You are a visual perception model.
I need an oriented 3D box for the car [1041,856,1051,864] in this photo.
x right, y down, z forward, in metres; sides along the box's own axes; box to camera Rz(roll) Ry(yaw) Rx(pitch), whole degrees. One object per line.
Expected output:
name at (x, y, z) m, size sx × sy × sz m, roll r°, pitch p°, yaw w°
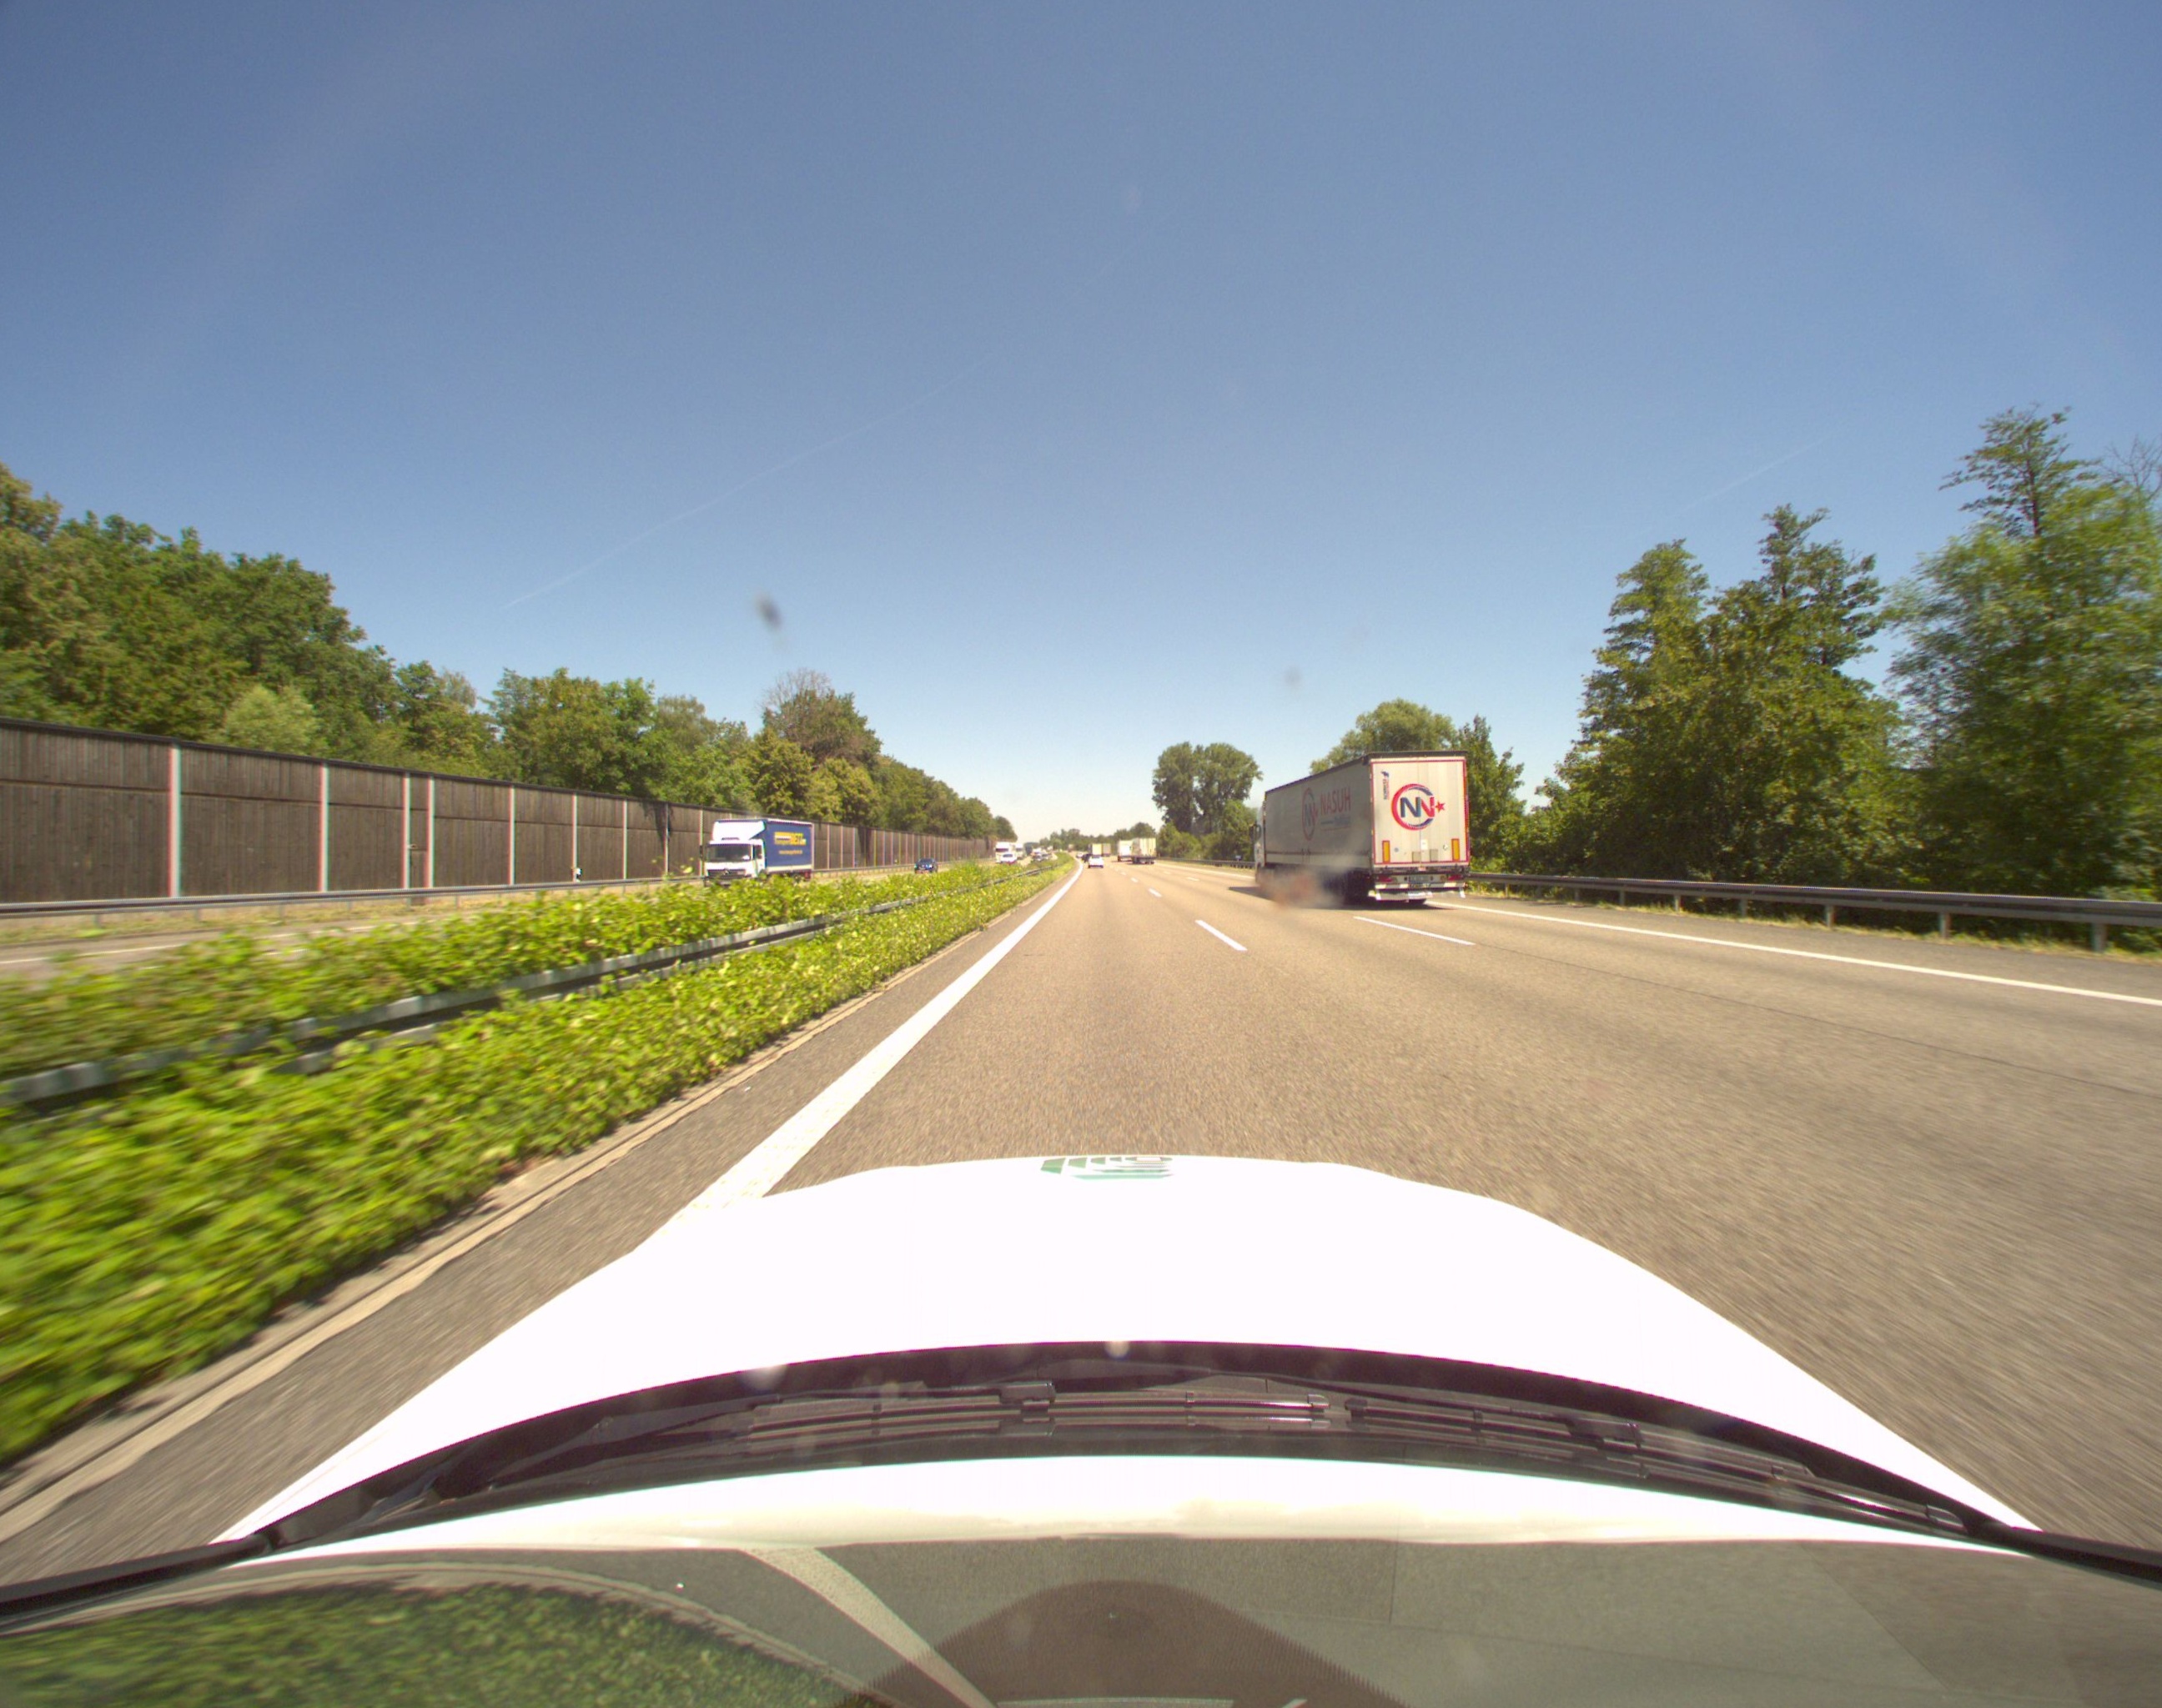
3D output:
car at (-7.281, 1.211, 170.604) m, size 1.760 × 1.651 × 4.038 m, roll -1°, pitch 0°, yaw 0°

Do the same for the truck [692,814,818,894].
truck at (-16.175, 0.014, 41.254) m, size 2.824 × 3.609 × 8.743 m, roll -1°, pitch 0°, yaw 0°

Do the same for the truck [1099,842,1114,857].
truck at (8.053, -1.382, 257.192) m, size 3.821 × 4.311 × 11.541 m, roll -1°, pitch 0°, yaw -3°

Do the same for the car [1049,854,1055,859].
car at (-8.910, 0.740, 250.220) m, size 1.754 × 1.428 × 3.934 m, roll -1°, pitch 0°, yaw 0°

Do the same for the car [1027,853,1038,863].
car at (-8.130, 0.702, 137.016) m, size 1.707 × 1.543 × 4.360 m, roll -1°, pitch 0°, yaw 0°

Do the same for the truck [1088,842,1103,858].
truck at (4.134, -1.126, 234.188) m, size 3.571 × 4.311 × 12.179 m, roll -1°, pitch 0°, yaw -2°

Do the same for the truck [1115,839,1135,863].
truck at (8.424, -0.553, 156.490) m, size 3.348 × 4.311 × 10.829 m, roll -1°, pitch 0°, yaw 1°

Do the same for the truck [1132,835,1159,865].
truck at (9.793, -0.529, 124.643) m, size 3.480 × 4.311 × 10.989 m, roll -1°, pitch 0°, yaw 1°

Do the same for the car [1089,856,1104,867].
car at (1.878, 0.895, 98.140) m, size 1.708 × 1.369 × 3.377 m, roll -1°, pitch 0°, yaw 3°

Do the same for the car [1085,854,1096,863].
car at (1.714, 0.838, 152.197) m, size 1.987 × 1.772 × 3.999 m, roll -1°, pitch 0°, yaw -1°

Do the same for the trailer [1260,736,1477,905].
trailer at (8.814, -0.812, 27.608) m, size 2.615 × 4.261 × 14.063 m, roll -1°, pitch 0°, yaw 1°

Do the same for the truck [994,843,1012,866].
truck at (-14.561, 0.130, 152.556) m, size 2.721 × 4.192 × 6.035 m, roll -1°, pitch 0°, yaw 0°

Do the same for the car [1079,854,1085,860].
car at (0.307, 0.800, 228.707) m, size 1.718 × 1.783 × 3.999 m, roll -1°, pitch 0°, yaw 0°

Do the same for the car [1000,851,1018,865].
car at (-9.904, 0.570, 112.721) m, size 1.919 × 1.945 × 4.609 m, roll -1°, pitch 0°, yaw 1°

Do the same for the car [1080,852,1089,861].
car at (0.729, 0.585, 181.783) m, size 1.987 × 2.013 × 3.999 m, roll -1°, pitch 0°, yaw 0°

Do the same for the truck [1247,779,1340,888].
truck at (8.973, -0.780, 34.979) m, size 2.596 × 4.287 × 5.436 m, roll -1°, pitch 0°, yaw 1°

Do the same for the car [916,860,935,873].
car at (-15.556, 1.256, 81.513) m, size 1.275 × 1.255 × 3.027 m, roll -1°, pitch 0°, yaw -1°
